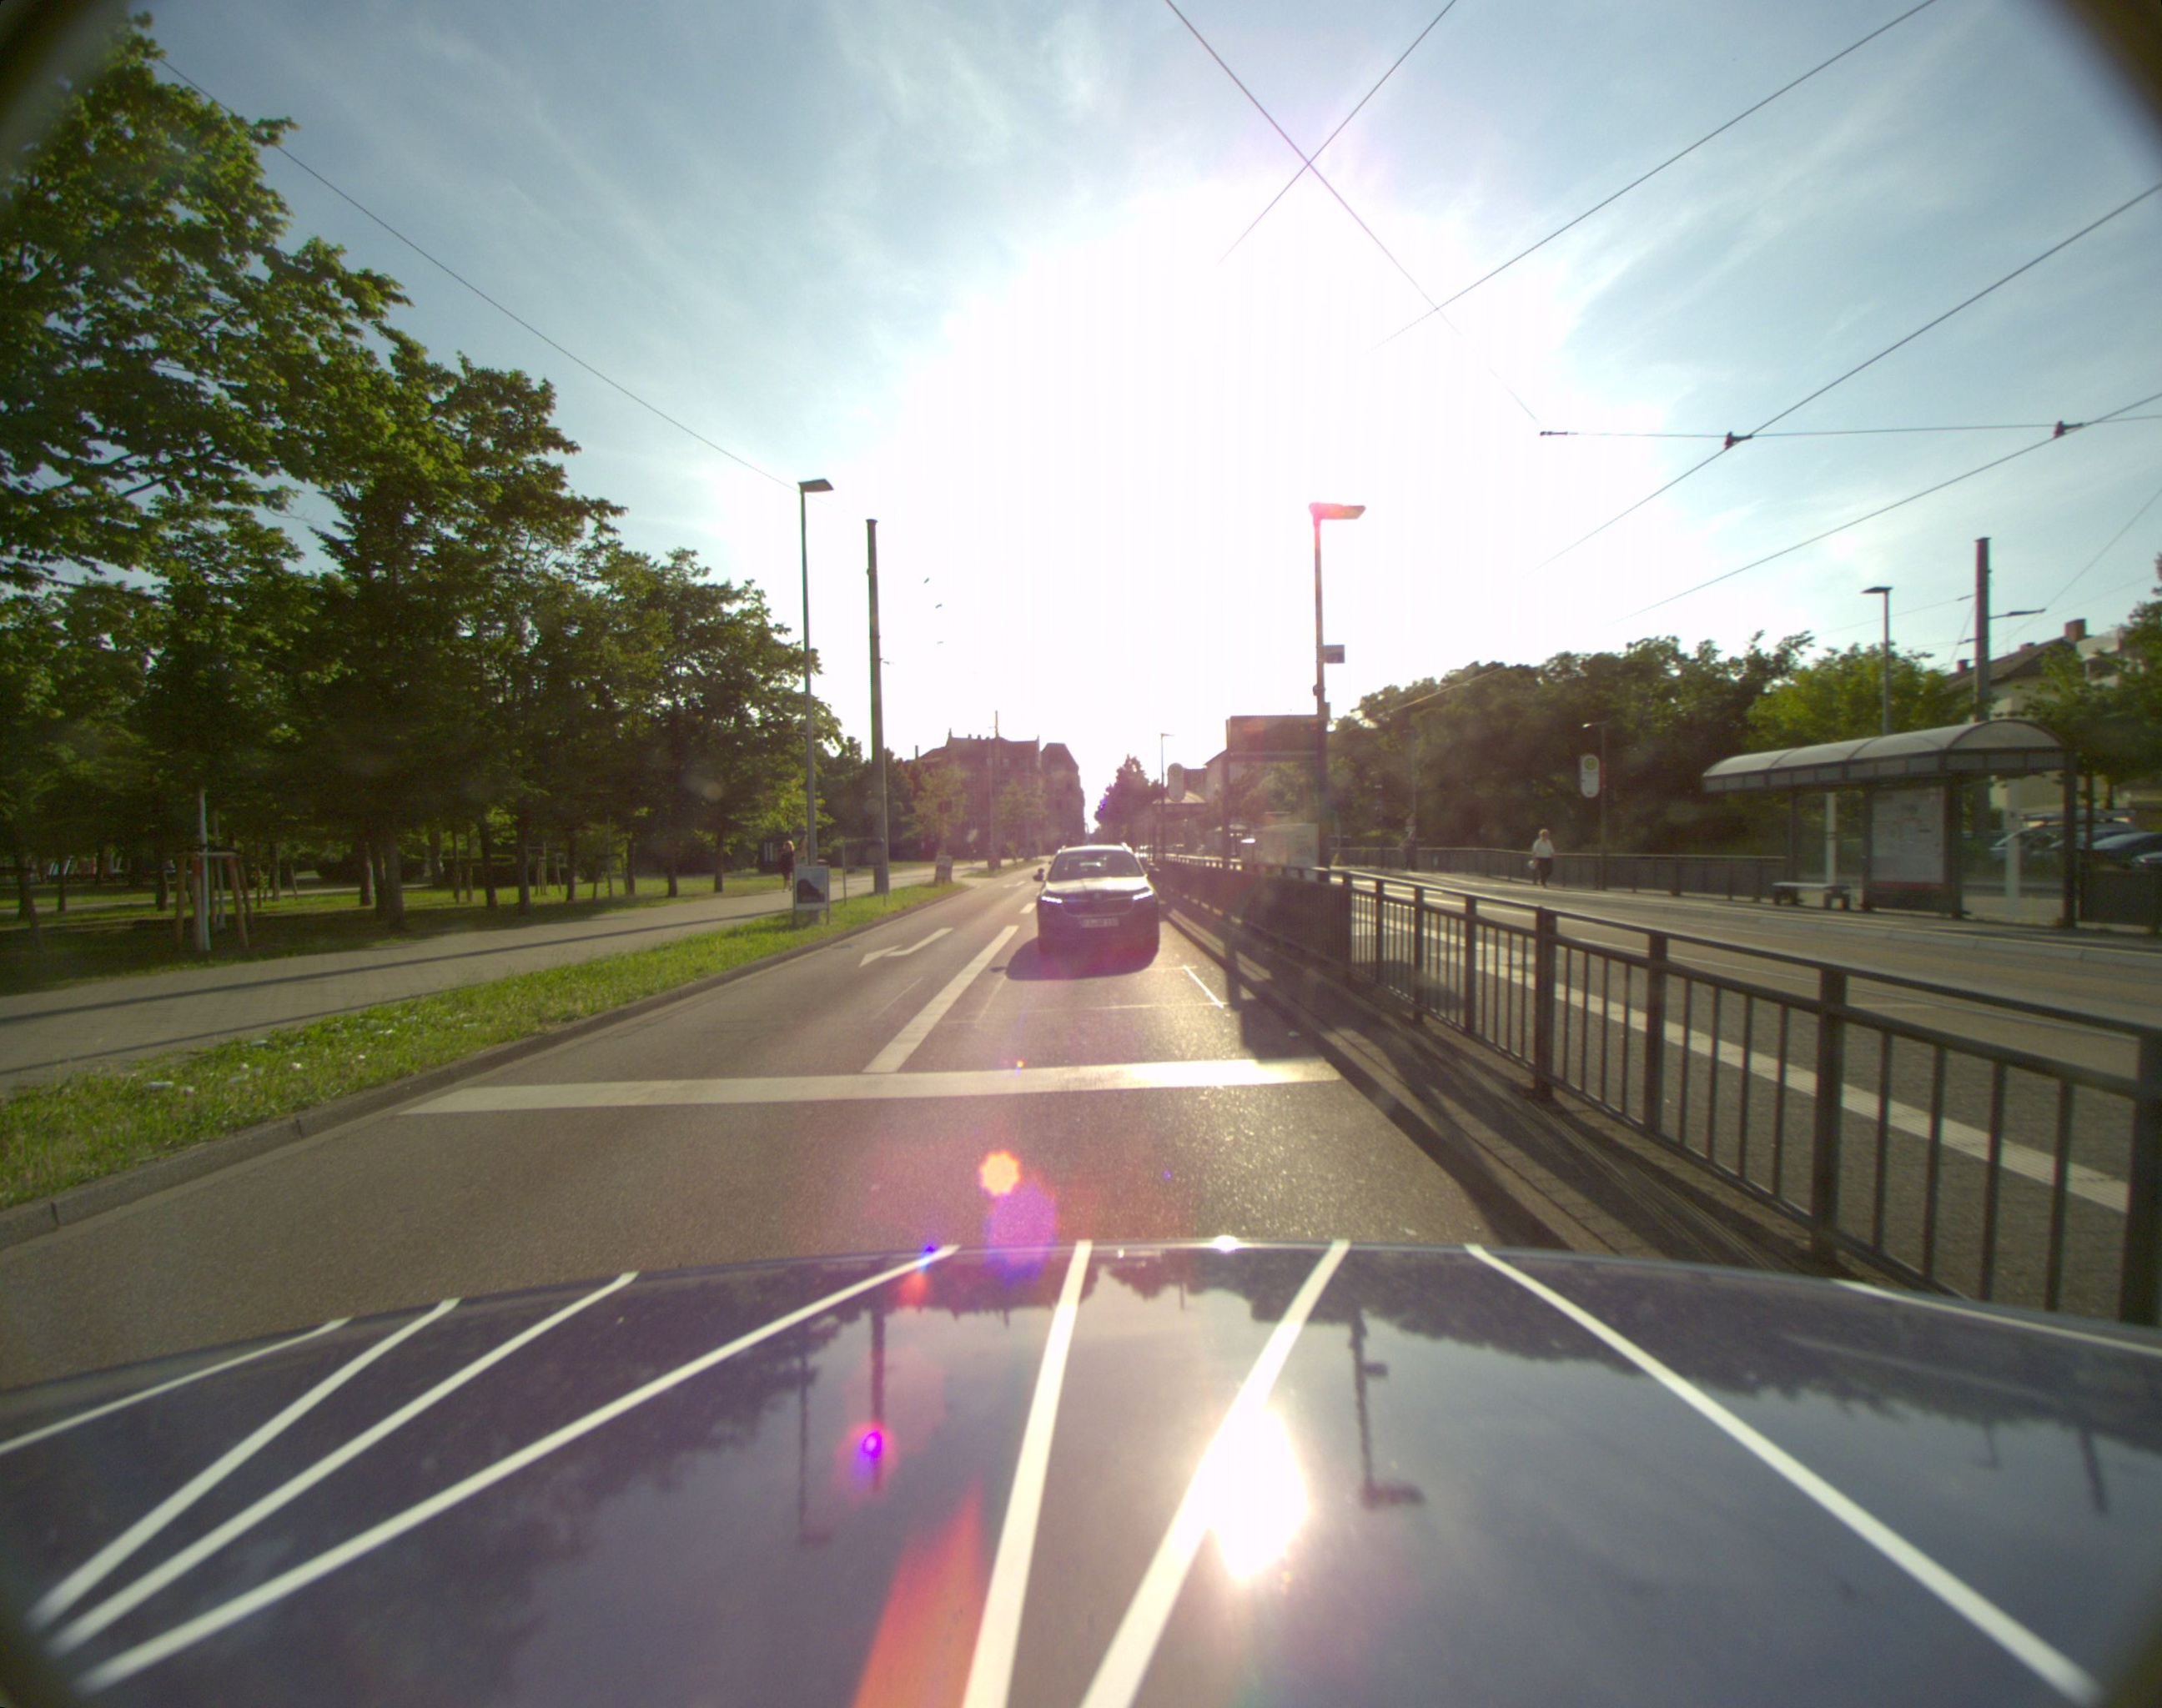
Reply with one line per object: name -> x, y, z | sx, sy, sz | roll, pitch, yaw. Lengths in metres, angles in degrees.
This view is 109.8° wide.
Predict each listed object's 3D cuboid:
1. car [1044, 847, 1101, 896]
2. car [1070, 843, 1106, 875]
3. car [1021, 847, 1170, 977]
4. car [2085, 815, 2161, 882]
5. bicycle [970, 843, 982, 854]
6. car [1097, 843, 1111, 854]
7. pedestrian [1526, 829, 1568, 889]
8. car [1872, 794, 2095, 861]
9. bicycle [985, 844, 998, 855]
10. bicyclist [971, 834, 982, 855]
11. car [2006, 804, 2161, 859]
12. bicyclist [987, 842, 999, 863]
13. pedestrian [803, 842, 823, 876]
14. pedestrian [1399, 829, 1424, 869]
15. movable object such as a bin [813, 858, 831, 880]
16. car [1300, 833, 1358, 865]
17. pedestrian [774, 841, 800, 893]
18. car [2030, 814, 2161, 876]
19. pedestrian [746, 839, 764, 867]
car -> -0.260, 0.549, 26.488 | 1.781, 1.496, 3.999 | -1, 1, 0
car -> 0.338, 0.207, 38.237 | 1.672, 1.496, 3.871 | -1, 1, 0
car -> 0.198, 0.709, 11.455 | 1.781, 1.496, 3.999 | -3, 1, 0
car -> 30.071, -0.170, 20.017 | 3.991, 1.744, 1.857 | -1, 1, 19
bicycle -> -8.939, -0.496, 64.781 | 0.740, 0.912, 2.094 | -1, 1, -1
car -> 3.689, -0.859, 123.262 | 1.999, 1.674, 3.999 | -1, 1, -1
pedestrian -> 13.005, 0.133, 21.215 | 0.708, 1.619, 0.727 | -1, 1, 0
car -> 41.324, -1.141, 35.028 | 6.587, 2.793, 1.775 | -1, 1, 21
bicycle -> -7.550, -0.420, 64.473 | 0.740, 0.912, 2.095 | -1, 1, 3
bicyclist -> -8.931, -0.825, 64.758 | 0.754, 1.763, 1.118 | -1, 1, -1
car -> 34.637, -0.757, 25.610 | 3.991, 1.744, 1.857 | -1, 1, 19
bicyclist -> -7.494, -0.158, 64.681 | 0.730, 1.764, 1.015 | -1, 2, 5
pedestrian -> -13.056, 0.228, 37.023 | 0.660, 1.642, 0.623 | 0, 2, 25
pedestrian -> 13.654, -0.206, 31.383 | 0.736, 1.619, 0.689 | -1, 1, 0
movable object such as a bin -> -11.156, 0.639, 32.741 | 0.502, 0.899, 0.525 | 0, 2, 39
car -> 16.580, -0.373, 51.097 | 2.151, 2.002, 5.386 | -1, 1, 1
pedestrian -> -9.740, 0.418, 25.223 | 0.558, 1.691, 0.662 | -1, 1, 0
car -> 30.924, -0.278, 21.957 | 3.991, 1.744, 1.857 | -1, 1, 19
pedestrian -> -25.064, -0.068, 58.404 | 0.910, 2.145, 0.891 | -1, 1, 13
